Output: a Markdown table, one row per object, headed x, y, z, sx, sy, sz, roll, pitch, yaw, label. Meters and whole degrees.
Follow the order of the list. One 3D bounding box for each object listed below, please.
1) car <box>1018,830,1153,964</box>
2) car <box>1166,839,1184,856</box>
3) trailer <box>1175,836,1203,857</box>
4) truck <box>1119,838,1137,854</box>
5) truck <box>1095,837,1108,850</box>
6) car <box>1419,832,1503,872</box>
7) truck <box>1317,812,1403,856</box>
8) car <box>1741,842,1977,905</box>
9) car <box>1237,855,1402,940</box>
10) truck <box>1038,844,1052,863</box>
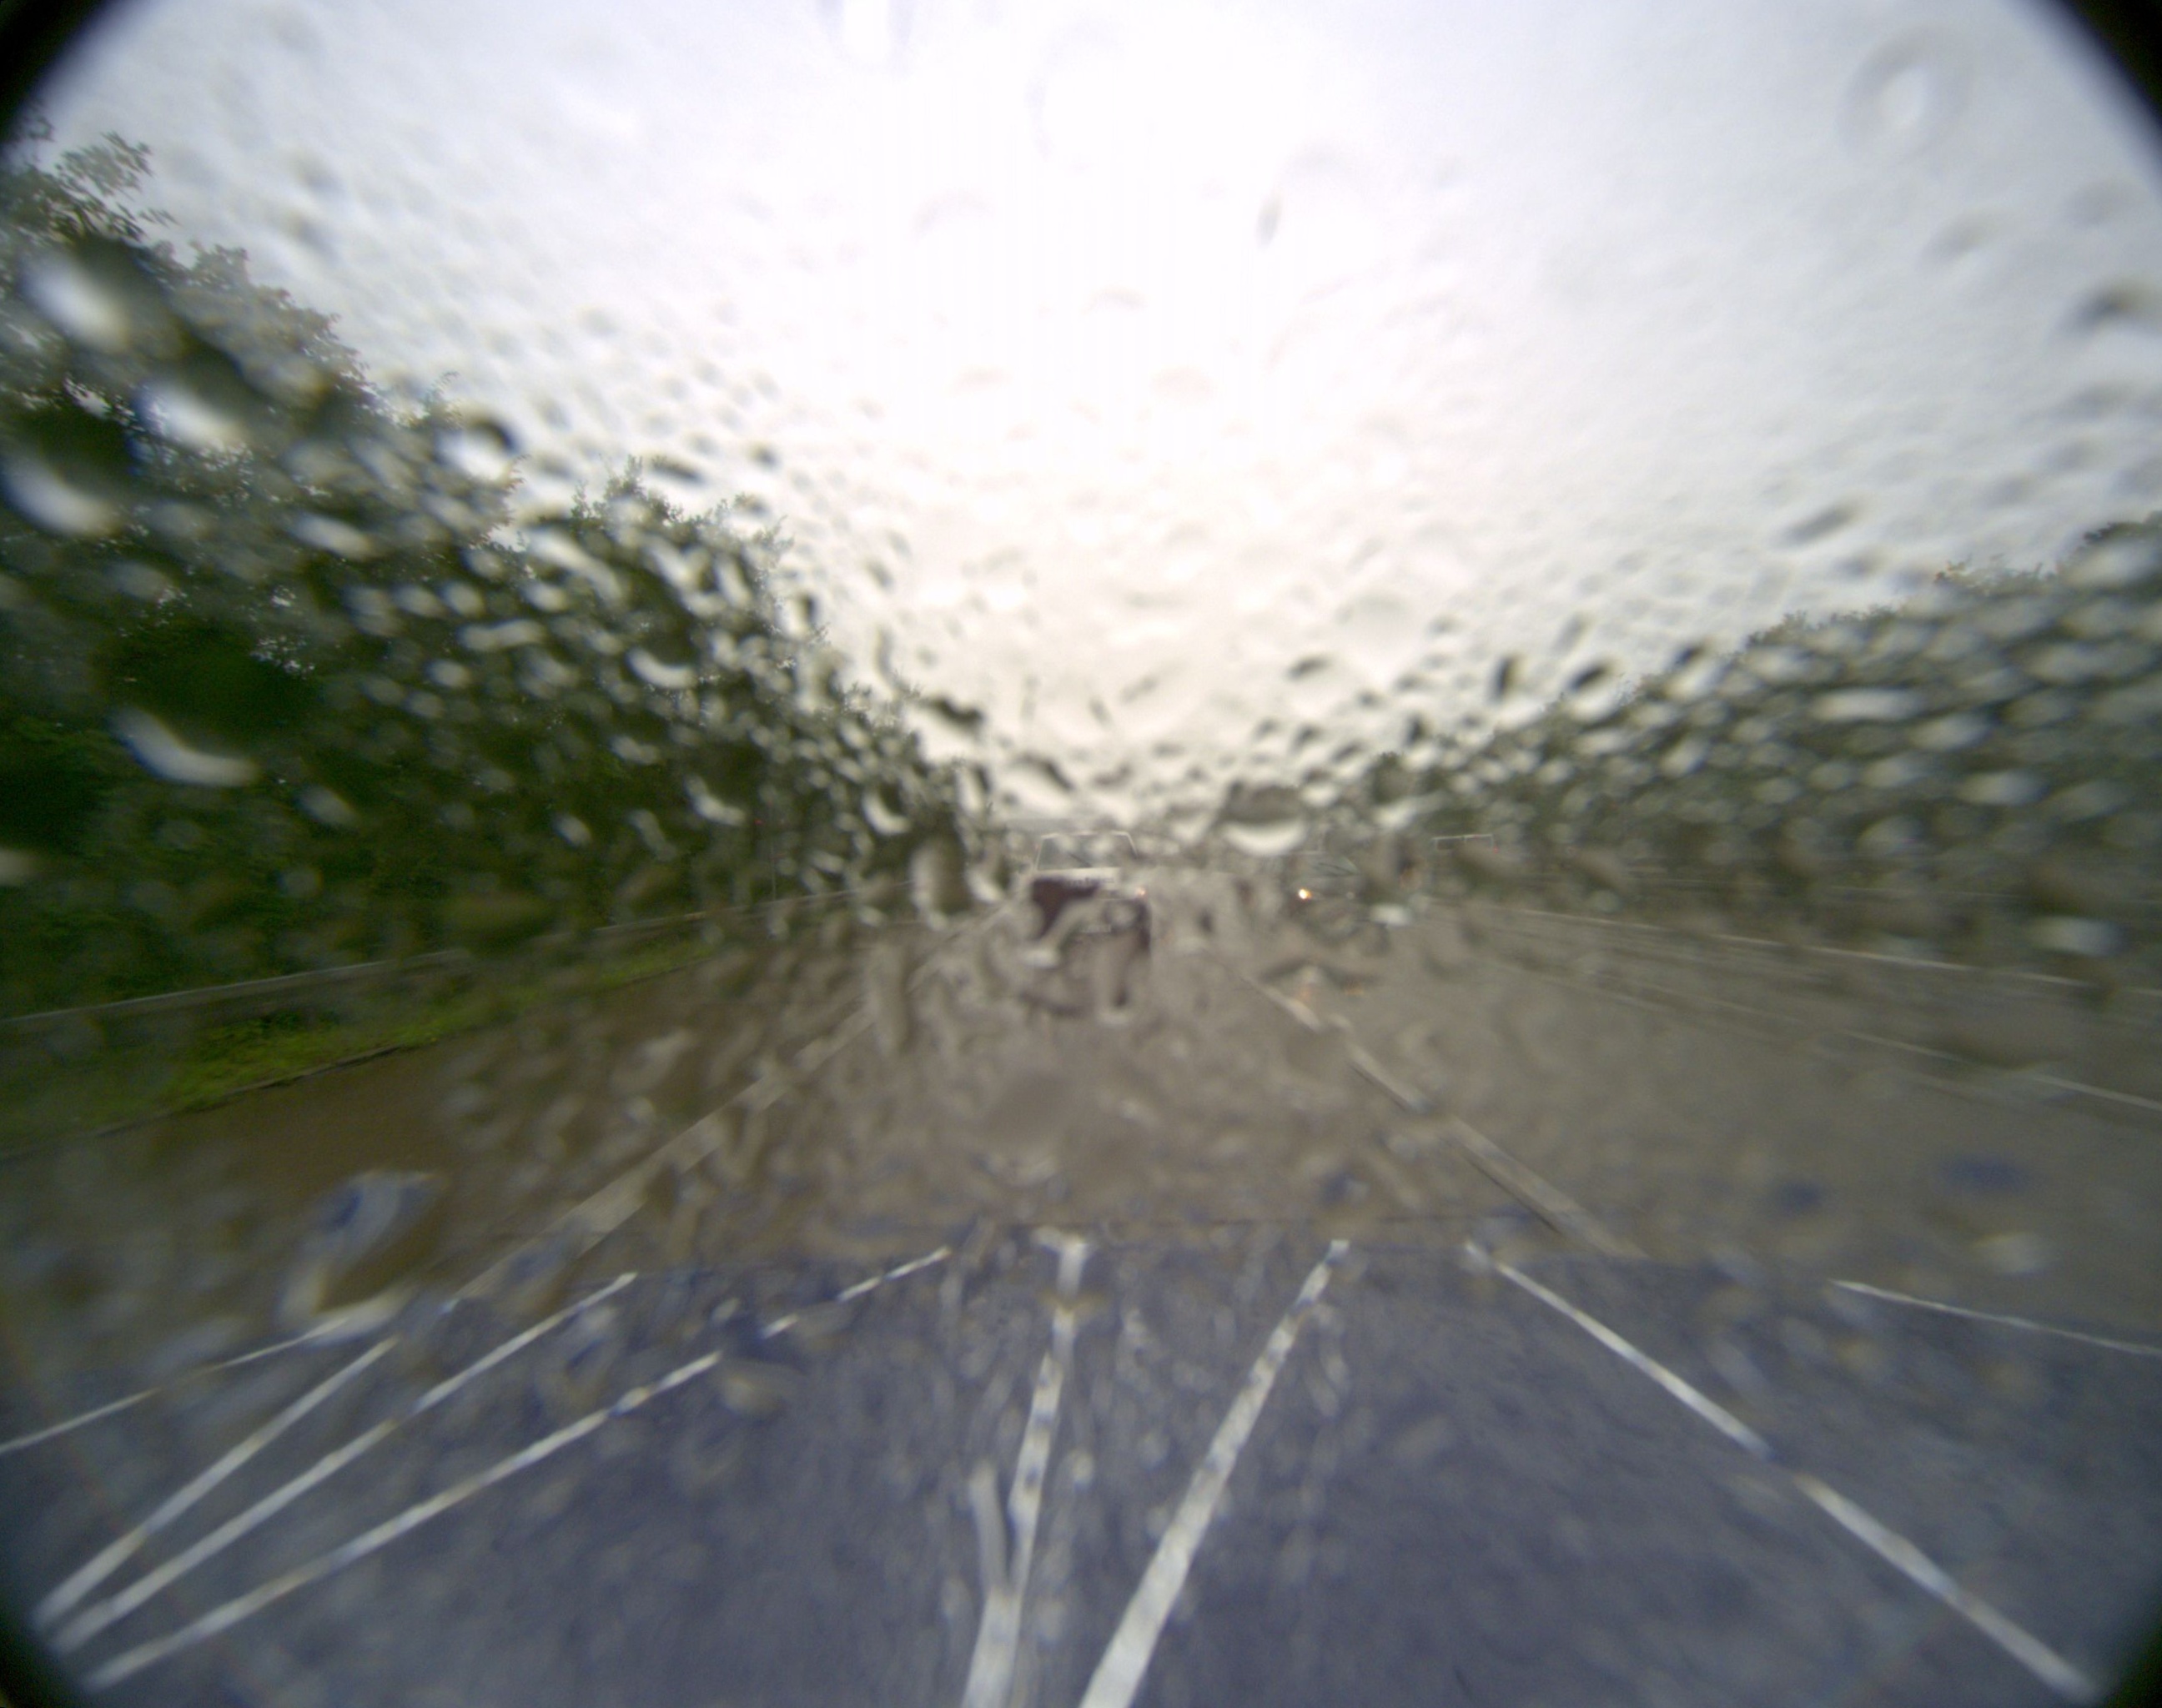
| x | y | z | sx | sy | sz | roll | pitch | yaw | label |
| --- | --- | --- | --- | --- | --- | --- | --- | --- | --- |
| 0.052 | 0.621 | 13.583 | 1.904 | 1.883 | 5.042 | -2 | 0 | 0 | car |
| 16.761 | -1.204 | 135.676 | 2.094 | 2.883 | 6.532 | -2 | 0 | -1 | car |
| 20.251 | -1.398 | 143.742 | 3.144 | 3.834 | 12.868 | -1 | 0 | -1 | trailer |
| 13.480 | -2.300 | 220.134 | 3.132 | 4.220 | 16.366 | -2 | 0 | -3 | truck |
| 6.982 | -3.631 | 259.960 | 3.133 | 4.220 | 13.536 | -2 | 0 | -4 | truck |
| 20.863 | -0.135 | 41.962 | 1.982 | 2.002 | 5.197 | -2 | 1 | 0 | car |
| 23.257 | -1.536 | 64.253 | 2.781 | 3.296 | 11.514 | -2 | 0 | -1 | truck |
| 21.185 | 0.463 | 21.017 | 1.921 | 1.475 | 4.473 | -2 | 1 | 0 | car |
| 4.453 | 0.740 | 14.937 | 1.745 | 1.380 | 4.320 | 0 | 1 | -2 | car |
| -8.346 | -0.095 | 175.722 | 3.059 | 3.994 | 10.041 | 1 | -2 | -3 | truck |
